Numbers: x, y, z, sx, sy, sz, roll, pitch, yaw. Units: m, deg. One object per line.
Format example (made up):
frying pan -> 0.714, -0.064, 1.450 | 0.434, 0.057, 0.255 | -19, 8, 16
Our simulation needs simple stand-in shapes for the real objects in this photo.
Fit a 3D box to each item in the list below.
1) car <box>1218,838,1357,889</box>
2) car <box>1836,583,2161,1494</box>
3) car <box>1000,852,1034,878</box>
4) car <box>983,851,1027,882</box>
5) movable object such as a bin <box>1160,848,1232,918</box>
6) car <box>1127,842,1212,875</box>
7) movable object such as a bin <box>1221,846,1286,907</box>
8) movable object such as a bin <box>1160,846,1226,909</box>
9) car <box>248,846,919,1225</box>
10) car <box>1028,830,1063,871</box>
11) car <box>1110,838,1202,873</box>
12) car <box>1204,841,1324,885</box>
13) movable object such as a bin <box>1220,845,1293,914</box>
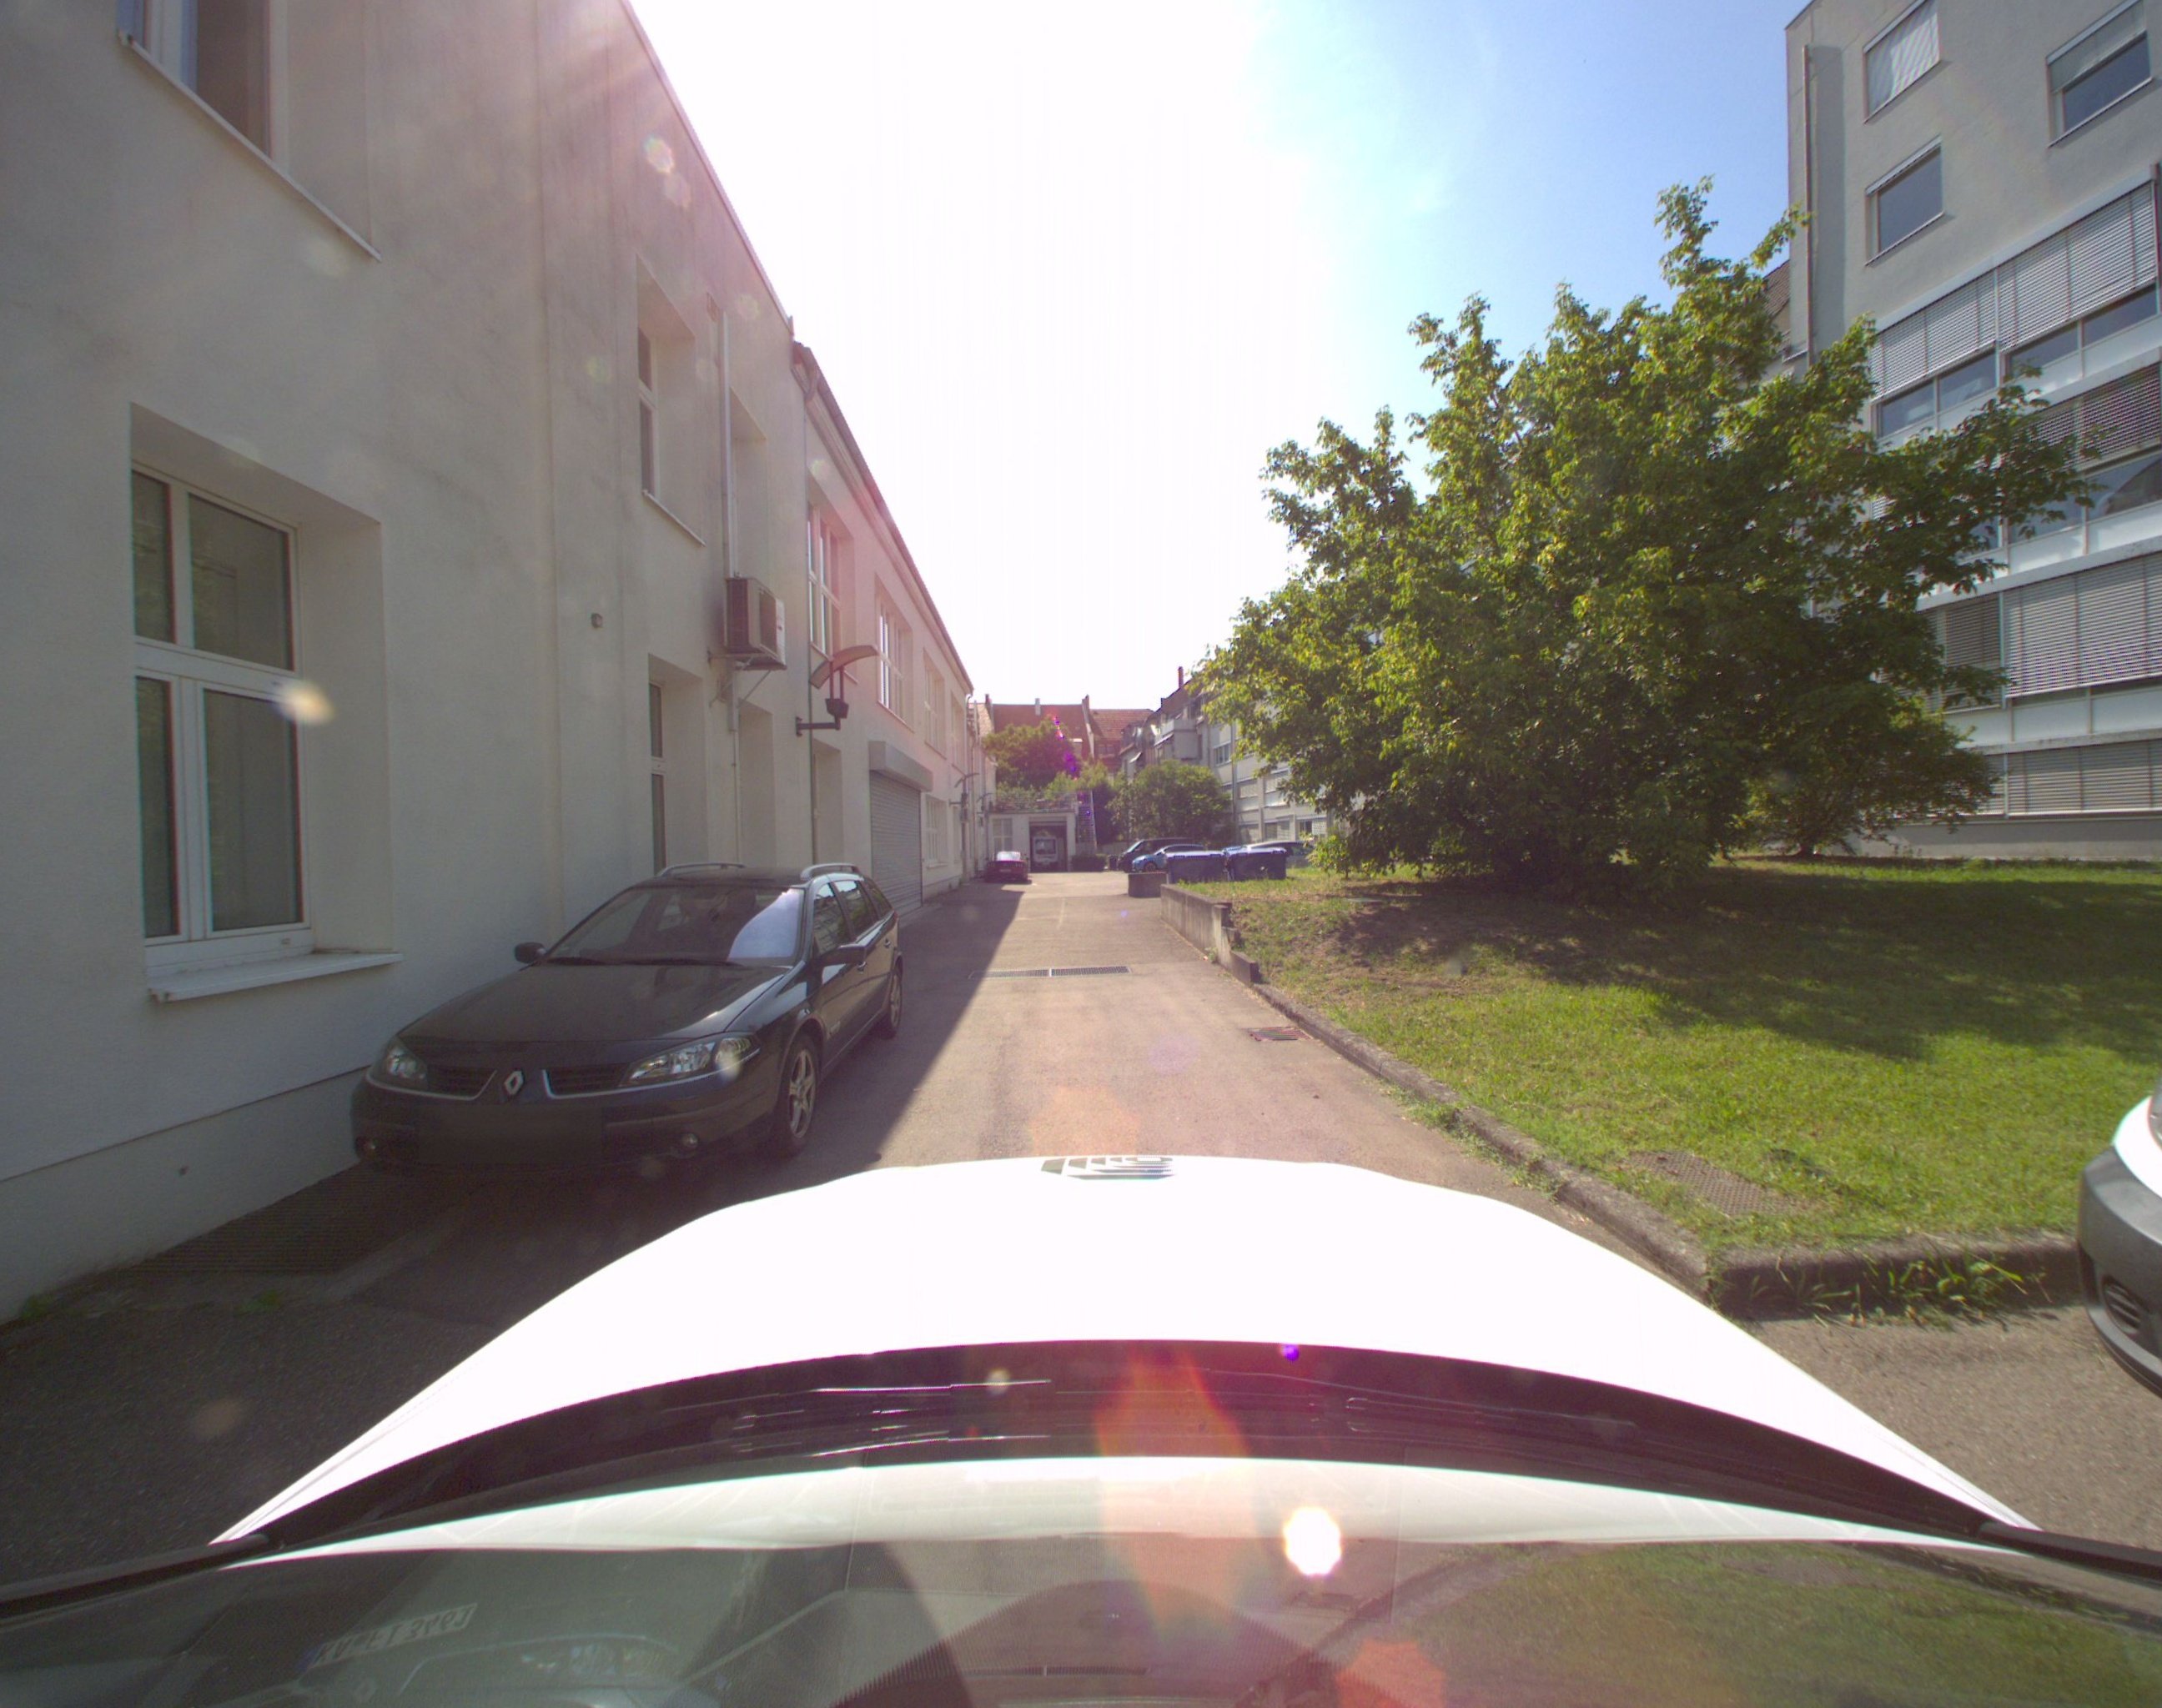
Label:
car -> 6.675, 0.278, 26.538 | 3.981, 1.427, 1.808 | -2, 0, -6
car -> 4.787, 0.334, 1.507 | 5.010, 1.933, 1.999 | -2, 1, -2
car -> -3.440, 0.557, 44.103 | 1.610, 1.295, 3.756 | -2, 0, -2
car -> -3.392, 0.537, 37.061 | 1.848, 1.319, 3.996 | 0, 0, -3
movable object such as a bin -> 2.379, 0.590, 17.018 | 1.243, 1.319, 1.142 | -4, -1, -1
car -> 4.790, 0.231, 44.475 | 4.224, 1.532, 1.996 | -3, 1, -6
movable object such as a bin -> 3.984, 0.504, 18.860 | 1.153, 1.336, 1.140 | -2, 0, -6
movable object such as a bin -> 2.570, 0.516, 18.823 | 1.245, 1.355, 1.127 | -2, 0, -6
car -> -2.348, 0.745, 5.384 | 1.832, 1.442, 4.425 | 1, -1, -3
car -> -2.459, -0.214, 56.938 | 2.169, 2.607, 6.729 | -3, 0, -2
car -> 4.376, 0.043, 47.707 | 4.961, 1.767, 2.086 | -3, 1, -15
car -> 6.672, 0.325, 29.980 | 3.978, 1.394, 1.687 | -2, 0, -3
movable object such as a bin -> 3.656, 0.508, 17.093 | 1.243, 1.340, 1.142 | -2, 0, 0
